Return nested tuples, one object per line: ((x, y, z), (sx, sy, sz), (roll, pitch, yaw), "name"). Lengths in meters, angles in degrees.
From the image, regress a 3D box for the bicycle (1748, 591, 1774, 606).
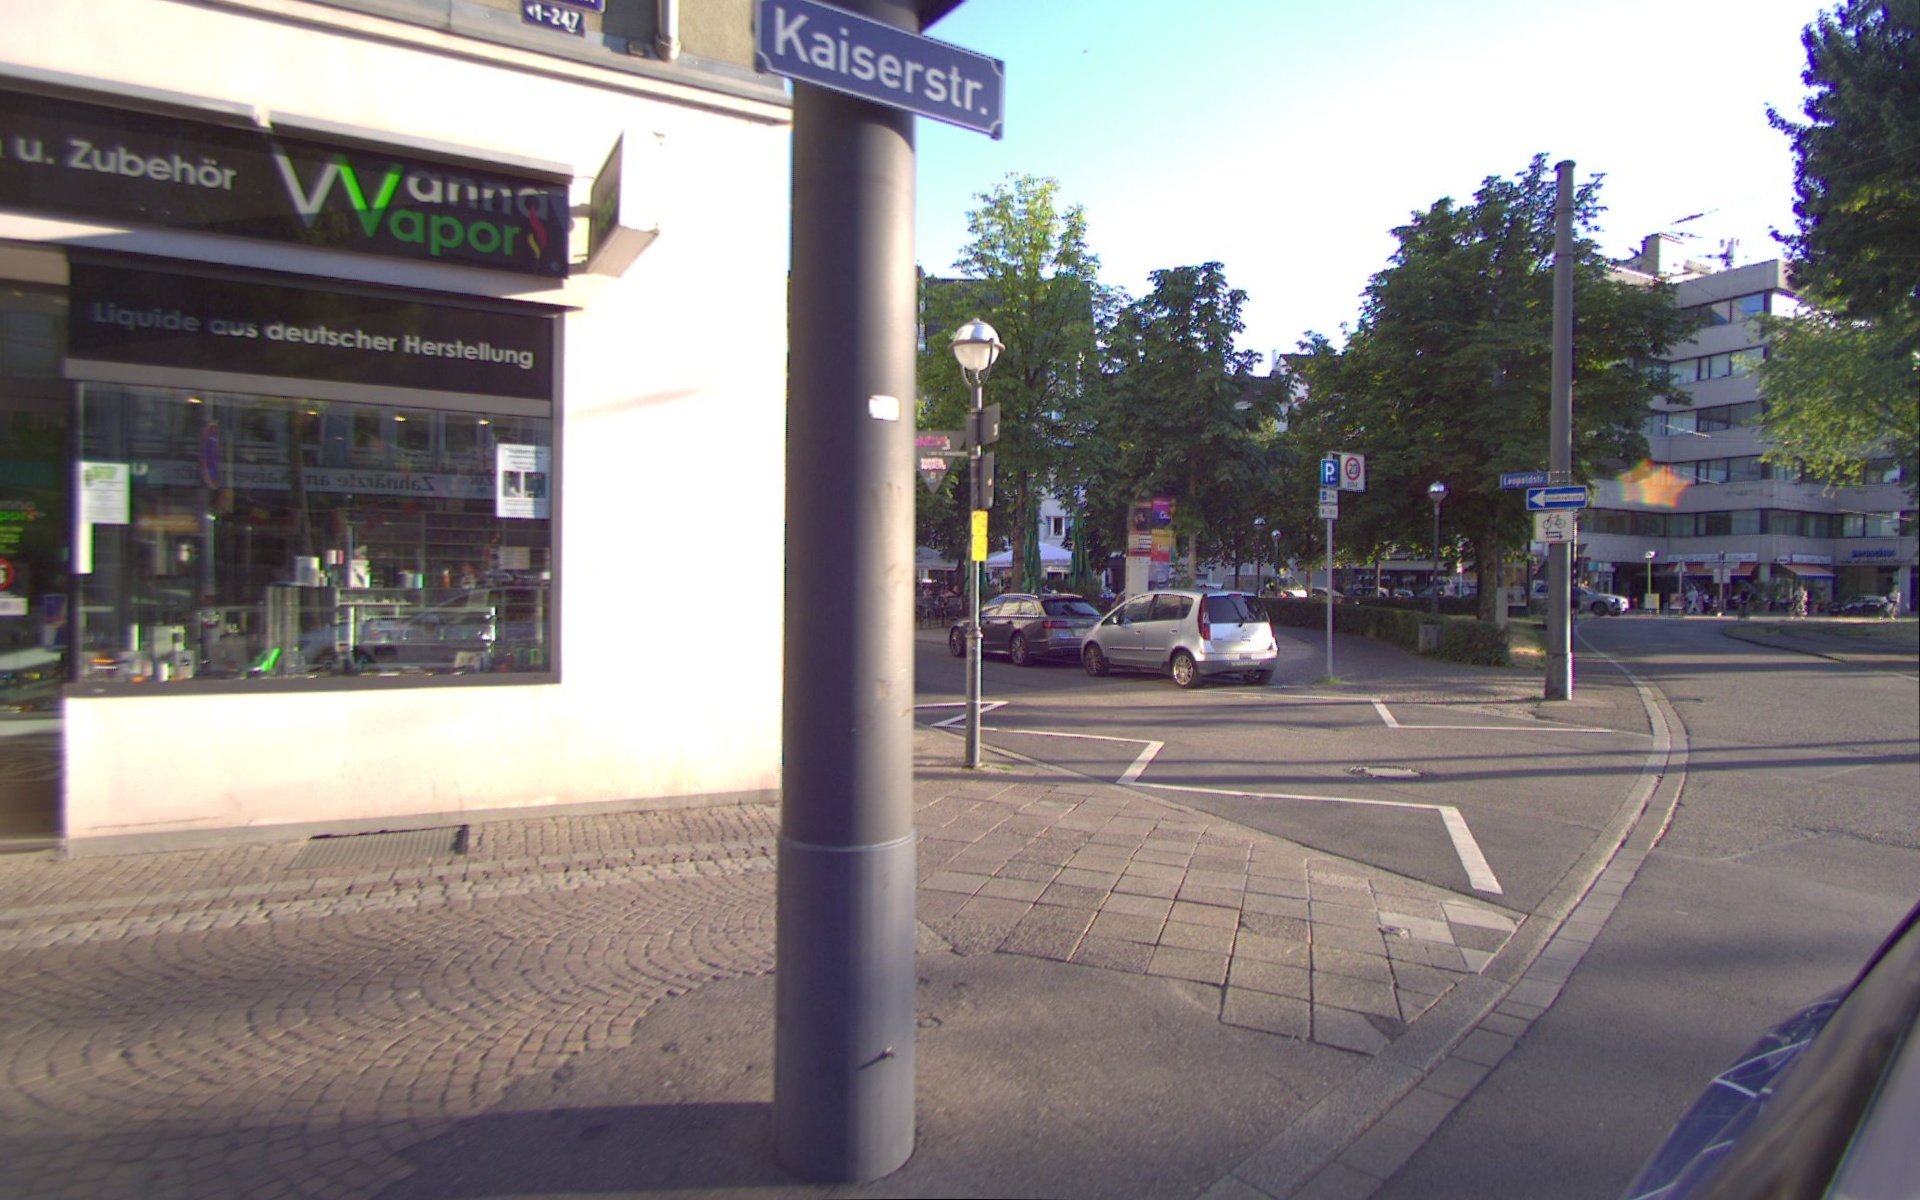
((57.533, -0.114, 72.676), (1.439, 1.004, 0.524), (3, 4, 39), "bicycle")

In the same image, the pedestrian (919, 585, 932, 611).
((-1.472, -0.093, 43.266), (0.484, 1.131, 0.558), (-1, 0, -5), "pedestrian")

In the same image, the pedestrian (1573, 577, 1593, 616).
((28.315, -0.169, 45.989), (0.631, 1.765, 0.589), (1, 0, -36), "pedestrian")

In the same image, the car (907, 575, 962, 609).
((-1.466, -0.430, 56.532), (1.873, 1.796, 4.008), (-1, 0, -21), "car")

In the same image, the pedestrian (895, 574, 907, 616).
((-2.418, -0.219, 41.391), (0.326, 1.706, 0.384), (0, 1, 31), "pedestrian")

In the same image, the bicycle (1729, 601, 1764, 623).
((39.596, 0.598, 50.954), (0.926, 1.090, 2.202), (0, 0, 26), "bicycle")

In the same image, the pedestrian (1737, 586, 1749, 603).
((57.193, -0.390, 73.941), (0.412, 1.208, 0.463), (0, 5, -25), "pedestrian")

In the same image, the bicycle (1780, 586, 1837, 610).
((49.745, -0.130, 59.298), (3.173, 1.378, 1.275), (-1, 1, -24), "bicycle")

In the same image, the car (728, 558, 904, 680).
((-2.844, 0.265, 19.036), (1.982, 1.988, 4.519), (0, 1, -26), "car")

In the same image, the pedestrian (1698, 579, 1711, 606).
((52.371, -0.529, 71.191), (0.600, 1.859, 0.567), (5, 5, 33), "pedestrian")

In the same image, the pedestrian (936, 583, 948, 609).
((-0.776, -0.173, 43.376), (0.484, 1.131, 0.558), (-1, 0, -5), "pedestrian")

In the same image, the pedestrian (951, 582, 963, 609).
((-0.128, -0.196, 43.484), (0.484, 1.131, 0.558), (-1, 0, -5), "pedestrian")

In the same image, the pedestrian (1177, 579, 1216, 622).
((7.671, 0.002, 32.863), (0.994, 1.372, 0.733), (-1, 1, -12), "pedestrian")

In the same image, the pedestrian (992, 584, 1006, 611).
((1.617, -0.110, 42.204), (0.484, 1.131, 0.558), (-1, 0, -5), "pedestrian")

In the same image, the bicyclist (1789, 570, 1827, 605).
((49.608, -0.727, 59.219), (1.338, 2.017, 1.239), (-1, 0, -23), "bicyclist")

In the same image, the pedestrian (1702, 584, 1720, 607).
((52.033, -0.333, 70.090), (0.778, 1.555, 0.569), (0, 1, 3), "pedestrian")

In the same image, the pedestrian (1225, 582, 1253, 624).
((8.413, 0.091, 30.549), (0.600, 1.260, 0.570), (0, 1, -16), "pedestrian")

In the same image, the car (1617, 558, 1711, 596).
((53.153, -1.776, 76.548), (2.137, 2.760, 5.443), (0, 2, -28), "car")

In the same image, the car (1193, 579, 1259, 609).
((17.948, -0.418, 68.324), (3.924, 1.908, 1.953), (0, 3, 0), "car")

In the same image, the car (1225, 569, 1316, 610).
((17.724, -0.575, 58.010), (2.052, 2.269, 4.886), (-1, 0, -29), "car")

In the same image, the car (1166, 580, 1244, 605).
((14.095, -0.413, 58.321), (1.966, 1.416, 3.992), (-1, 0, -42), "car")

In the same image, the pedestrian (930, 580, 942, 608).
((-0.978, -0.245, 41.688), (0.449, 1.131, 0.558), (-1, 0, -5), "pedestrian")

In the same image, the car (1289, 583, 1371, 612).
((21.058, -0.135, 57.695), (1.915, 1.624, 4.000), (-1, 0, -35), "car")

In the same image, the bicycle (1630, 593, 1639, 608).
((45.715, 0.062, 68.583), (0.299, 1.005, 1.283), (-1, 0, 25), "bicycle")

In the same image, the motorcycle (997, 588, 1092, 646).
((2.118, 0.421, 25.331), (2.211, 1.385, 0.947), (-2, 0, 16), "motorcycle")

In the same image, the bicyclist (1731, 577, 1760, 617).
((39.638, -0.134, 51.080), (0.916, 1.999, 1.103), (-1, 0, 27), "bicyclist")

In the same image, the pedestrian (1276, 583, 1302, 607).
((17.532, -0.252, 53.942), (0.943, 1.241, 1.370), (0, 0, 1), "pedestrian")

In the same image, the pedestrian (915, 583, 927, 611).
((-1.622, -0.141, 41.562), (0.449, 1.131, 0.531), (-1, 0, -5), "pedestrian")

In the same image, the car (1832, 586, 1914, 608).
((62.305, -0.194, 69.129), (3.924, 1.460, 1.795), (0, 0, 1), "car")

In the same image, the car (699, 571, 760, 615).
((-11.119, -0.350, 48.614), (1.959, 2.039, 4.444), (-1, 1, -24), "car")

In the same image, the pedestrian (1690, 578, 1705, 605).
((52.400, -0.588, 71.922), (0.527, 1.859, 0.620), (2, 4, 6), "pedestrian")

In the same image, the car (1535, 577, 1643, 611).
((34.780, -0.339, 56.083), (1.962, 1.794, 4.711), (0, 0, -34), "car")

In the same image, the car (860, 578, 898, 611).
((-4.631, -0.303, 57.430), (1.873, 1.796, 4.006), (-1, 0, -8), "car")

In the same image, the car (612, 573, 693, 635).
((-10.715, 0.108, 35.042), (1.982, 1.988, 4.519), (-1, 1, -26), "car")

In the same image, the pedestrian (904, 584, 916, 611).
((-2.143, -0.119, 43.153), (0.484, 1.131, 0.558), (-1, 0, -5), "pedestrian")

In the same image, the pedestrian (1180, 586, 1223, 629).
((7.188, 0.208, 30.108), (0.968, 1.258, 0.781), (0, 0, -29), "pedestrian")

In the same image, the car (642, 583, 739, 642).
((-8.192, 0.320, 30.430), (1.982, 1.637, 4.519), (-1, 1, -26), "car")

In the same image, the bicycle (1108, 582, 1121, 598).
((8.076, -0.519, 52.930), (0.437, 0.789, 1.276), (0, 1, -3), "bicycle")

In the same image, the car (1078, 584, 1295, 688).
((3.666, 0.509, 16.973), (1.703, 1.533, 3.583), (0, 1, -26), "car")

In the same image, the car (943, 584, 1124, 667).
((1.396, 0.441, 21.348), (1.703, 1.533, 4.681), (0, 1, -26), "car")
